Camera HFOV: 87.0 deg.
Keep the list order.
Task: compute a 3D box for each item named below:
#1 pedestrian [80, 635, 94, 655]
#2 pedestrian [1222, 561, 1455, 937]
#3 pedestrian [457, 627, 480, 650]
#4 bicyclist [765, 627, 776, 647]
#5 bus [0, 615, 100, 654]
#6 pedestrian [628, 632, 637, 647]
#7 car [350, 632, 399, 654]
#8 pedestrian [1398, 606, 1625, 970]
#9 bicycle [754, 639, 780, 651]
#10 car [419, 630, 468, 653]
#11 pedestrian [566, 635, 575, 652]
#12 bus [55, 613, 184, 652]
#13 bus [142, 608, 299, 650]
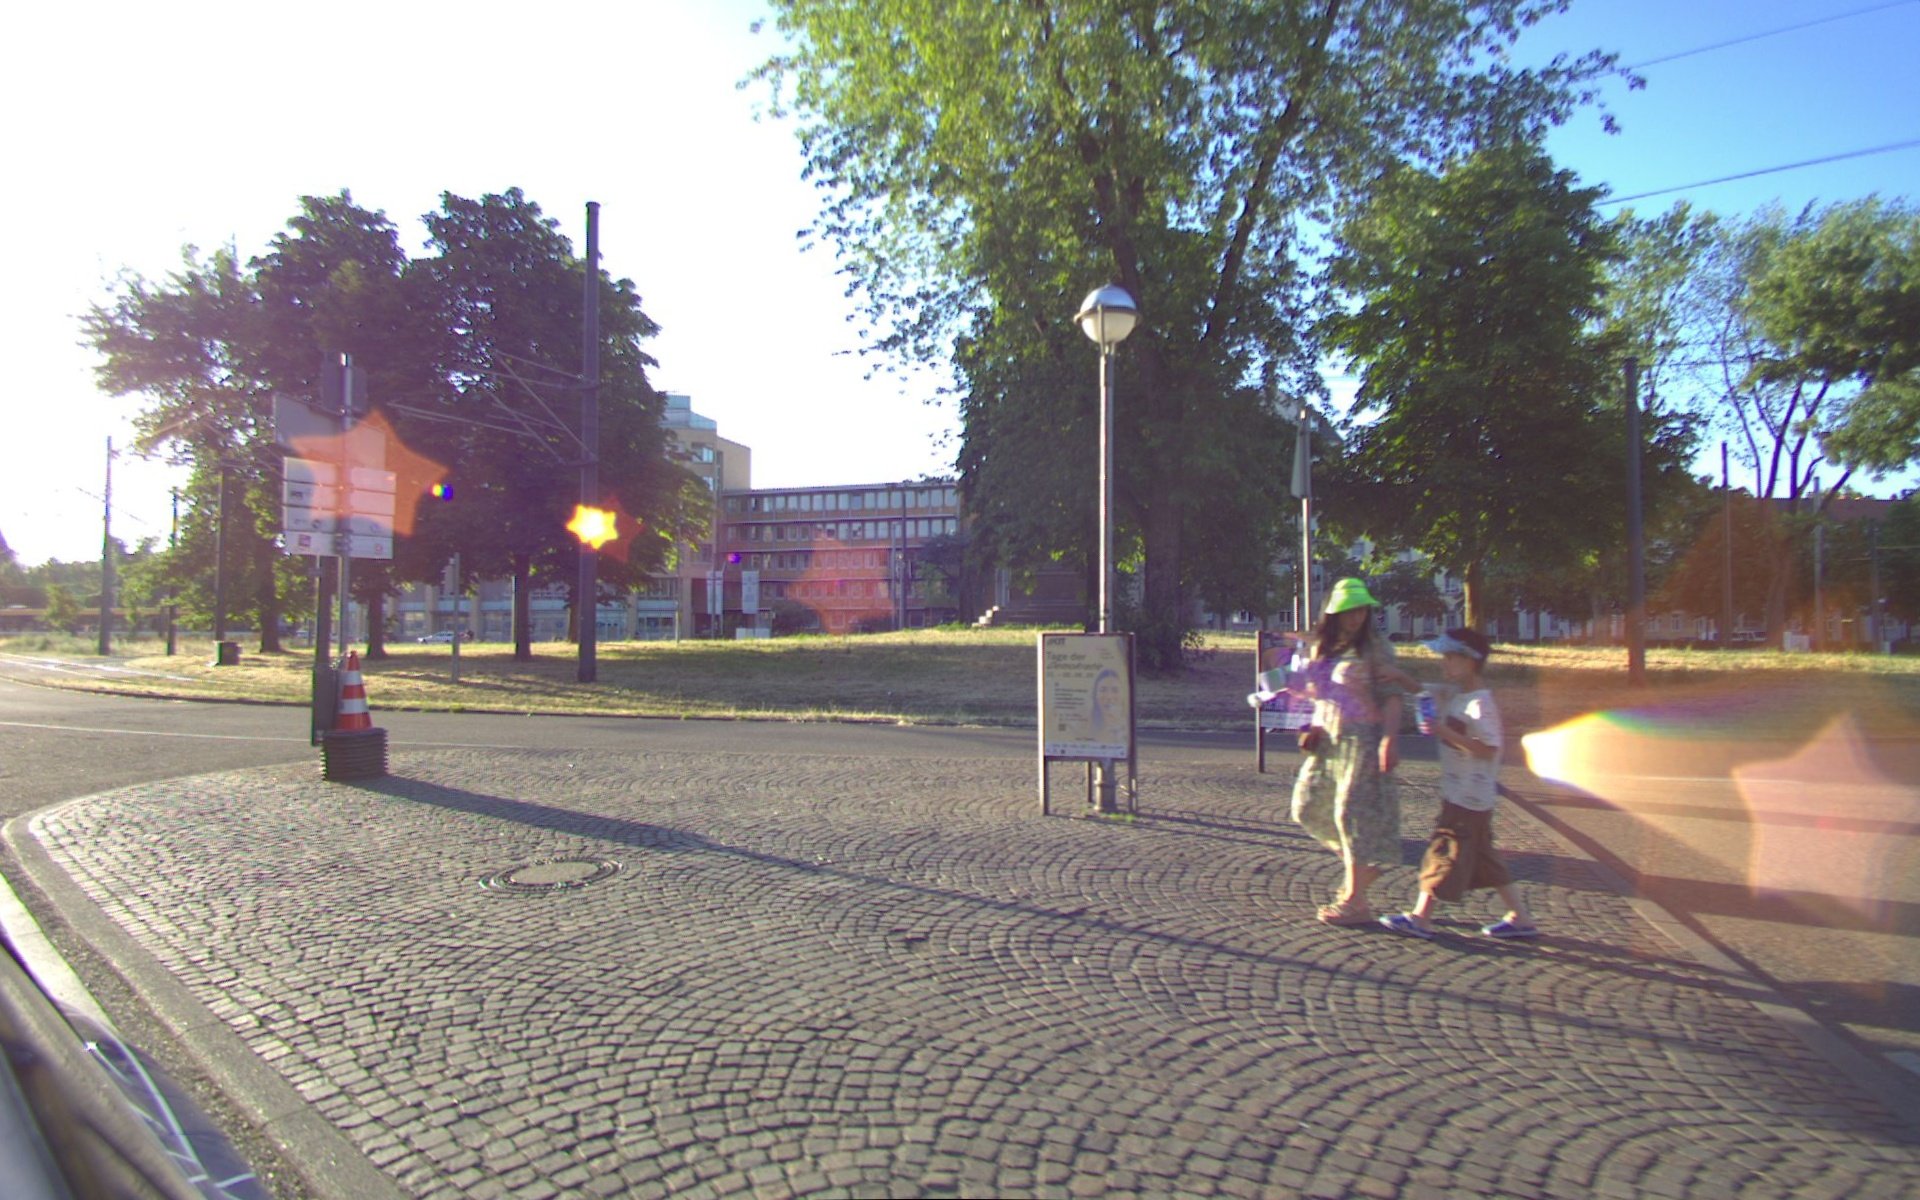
[{"bbox_3d":[-66.338,3.415,76.903,0.698,1.470,0.664,-2,-2,37],"label":"pedestrian"},{"bbox_3d":[1.744,0.627,4.710,0.683,1.571,0.702,0,-2,-30],"label":"pedestrian"},{"bbox_3d":[-45.795,3.570,94.281,1.615,2.110,1.057,-1,-1,8],"label":"pedestrian"},{"bbox_3d":[-16.663,3.231,89.018,0.884,1.703,0.954,0,-2,-4],"label":"bicyclist"},{"bbox_3d":[-87.438,3.265,95.593,12.029,3.482,3.739,-2,-1,18],"label":"bus"},{"bbox_3d":[-30.994,3.751,95.770,0.677,1.334,0.564,-2,-2,16],"label":"pedestrian"},{"bbox_3d":[-57.928,4.254,100.212,3.957,2.029,1.904,-1,-1,11],"label":"car"},{"bbox_3d":[2.302,0.723,4.250,0.604,1.375,0.566,0,-2,-30],"label":"pedestrian"},{"bbox_3d":[-16.969,3.974,88.962,2.167,1.019,0.473,0,-2,-5],"label":"bicycle"},{"bbox_3d":[-49.954,4.013,97.896,3.869,2.029,1.849,-1,-1,11],"label":"car"},{"bbox_3d":[-37.637,4.204,97.847,0.614,1.705,0.527,-2,-2,24],"label":"pedestrian"},{"bbox_3d":[-76.593,2.962,92.249,10.640,3.356,3.741,-2,-1,16],"label":"bus"},{"bbox_3d":[-64.981,2.562,88.893,13.592,3.388,3.741,-2,-1,17],"label":"bus"}]
